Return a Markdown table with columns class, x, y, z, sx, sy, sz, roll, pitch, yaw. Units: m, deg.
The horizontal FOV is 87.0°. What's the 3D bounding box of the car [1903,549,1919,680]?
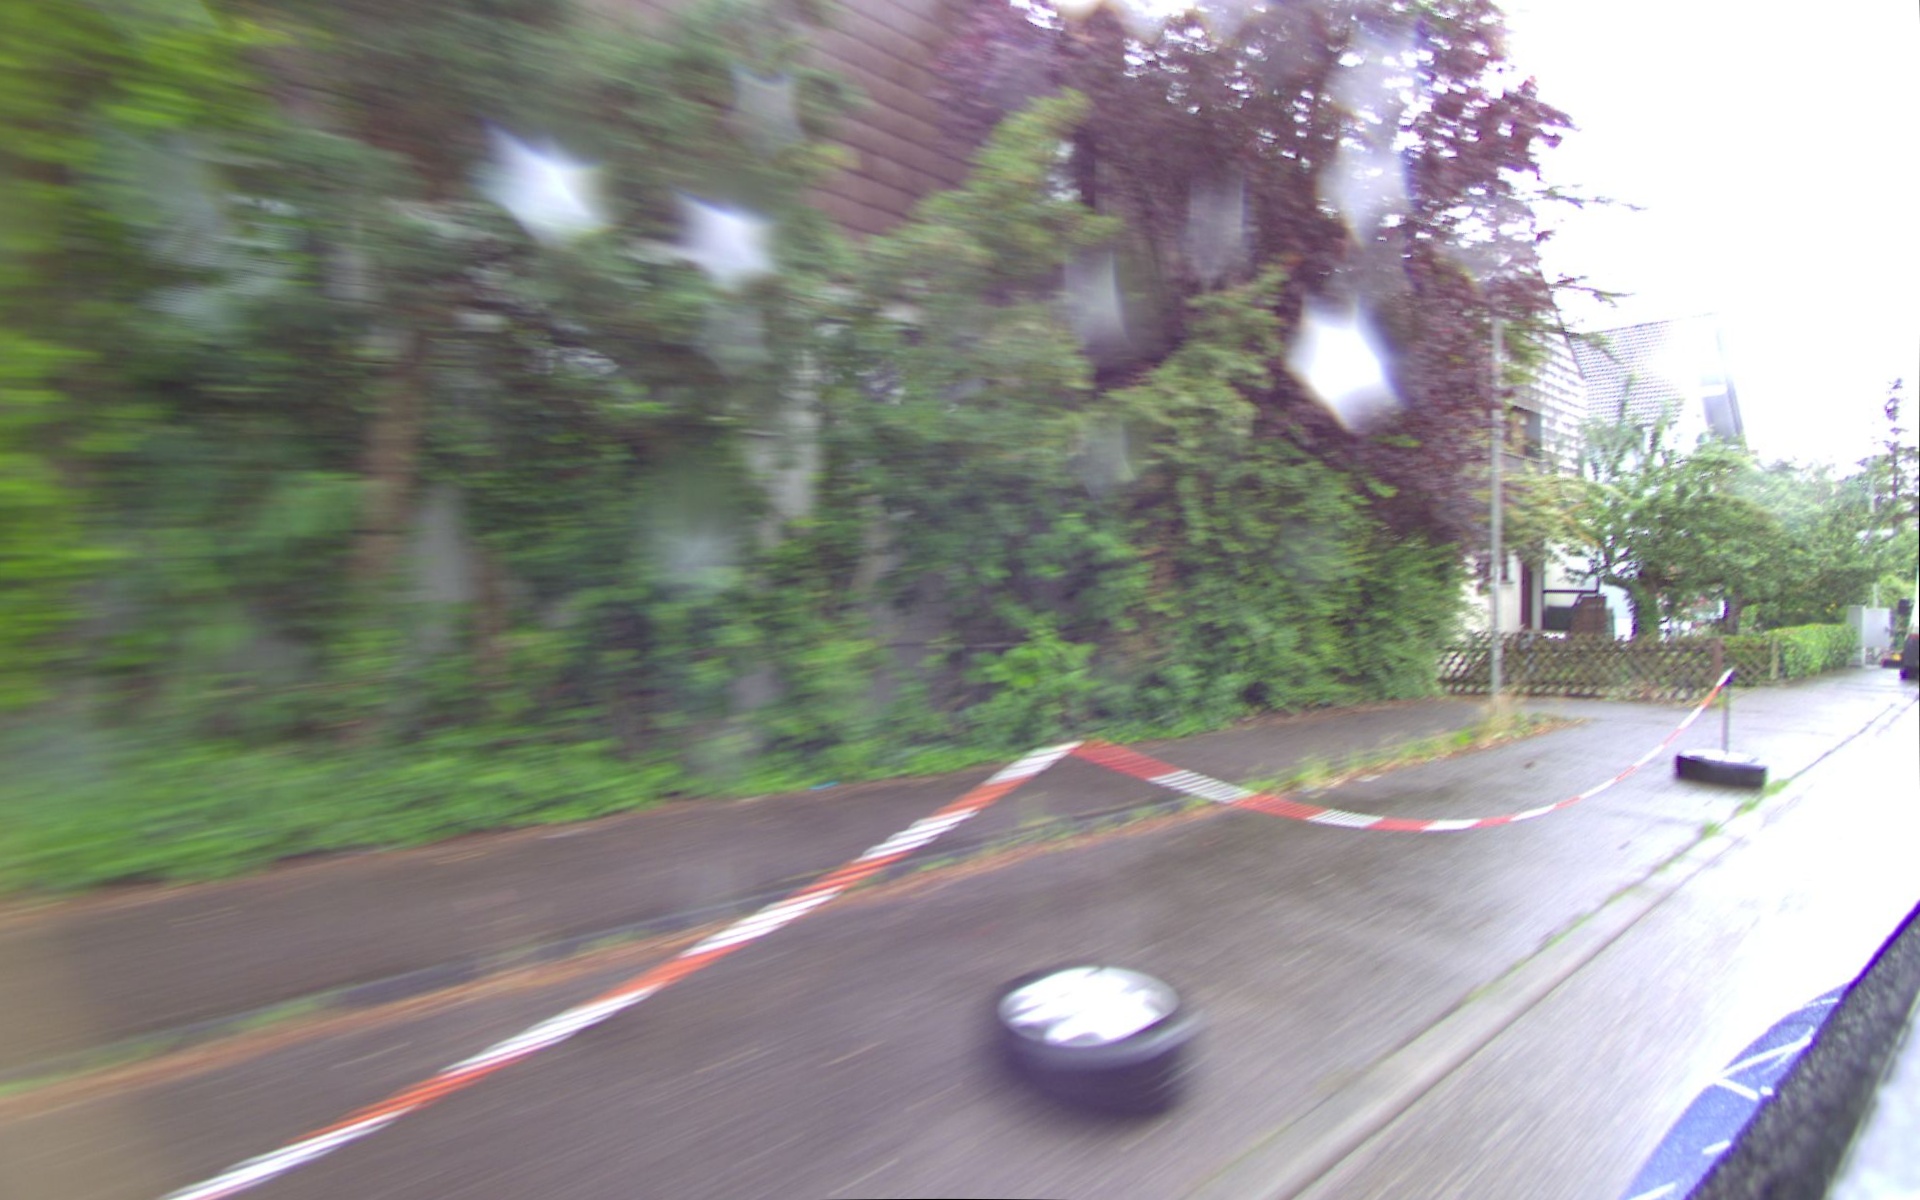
| class | x | y | z | sx | sy | sz | roll | pitch | yaw |
| --- | --- | --- | --- | --- | --- | --- | --- | --- | --- |
| car | 21.019 | 0.326 | 20.449 | 6.324 | 2.462 | 2.394 | 0 | 1 | -43 |
